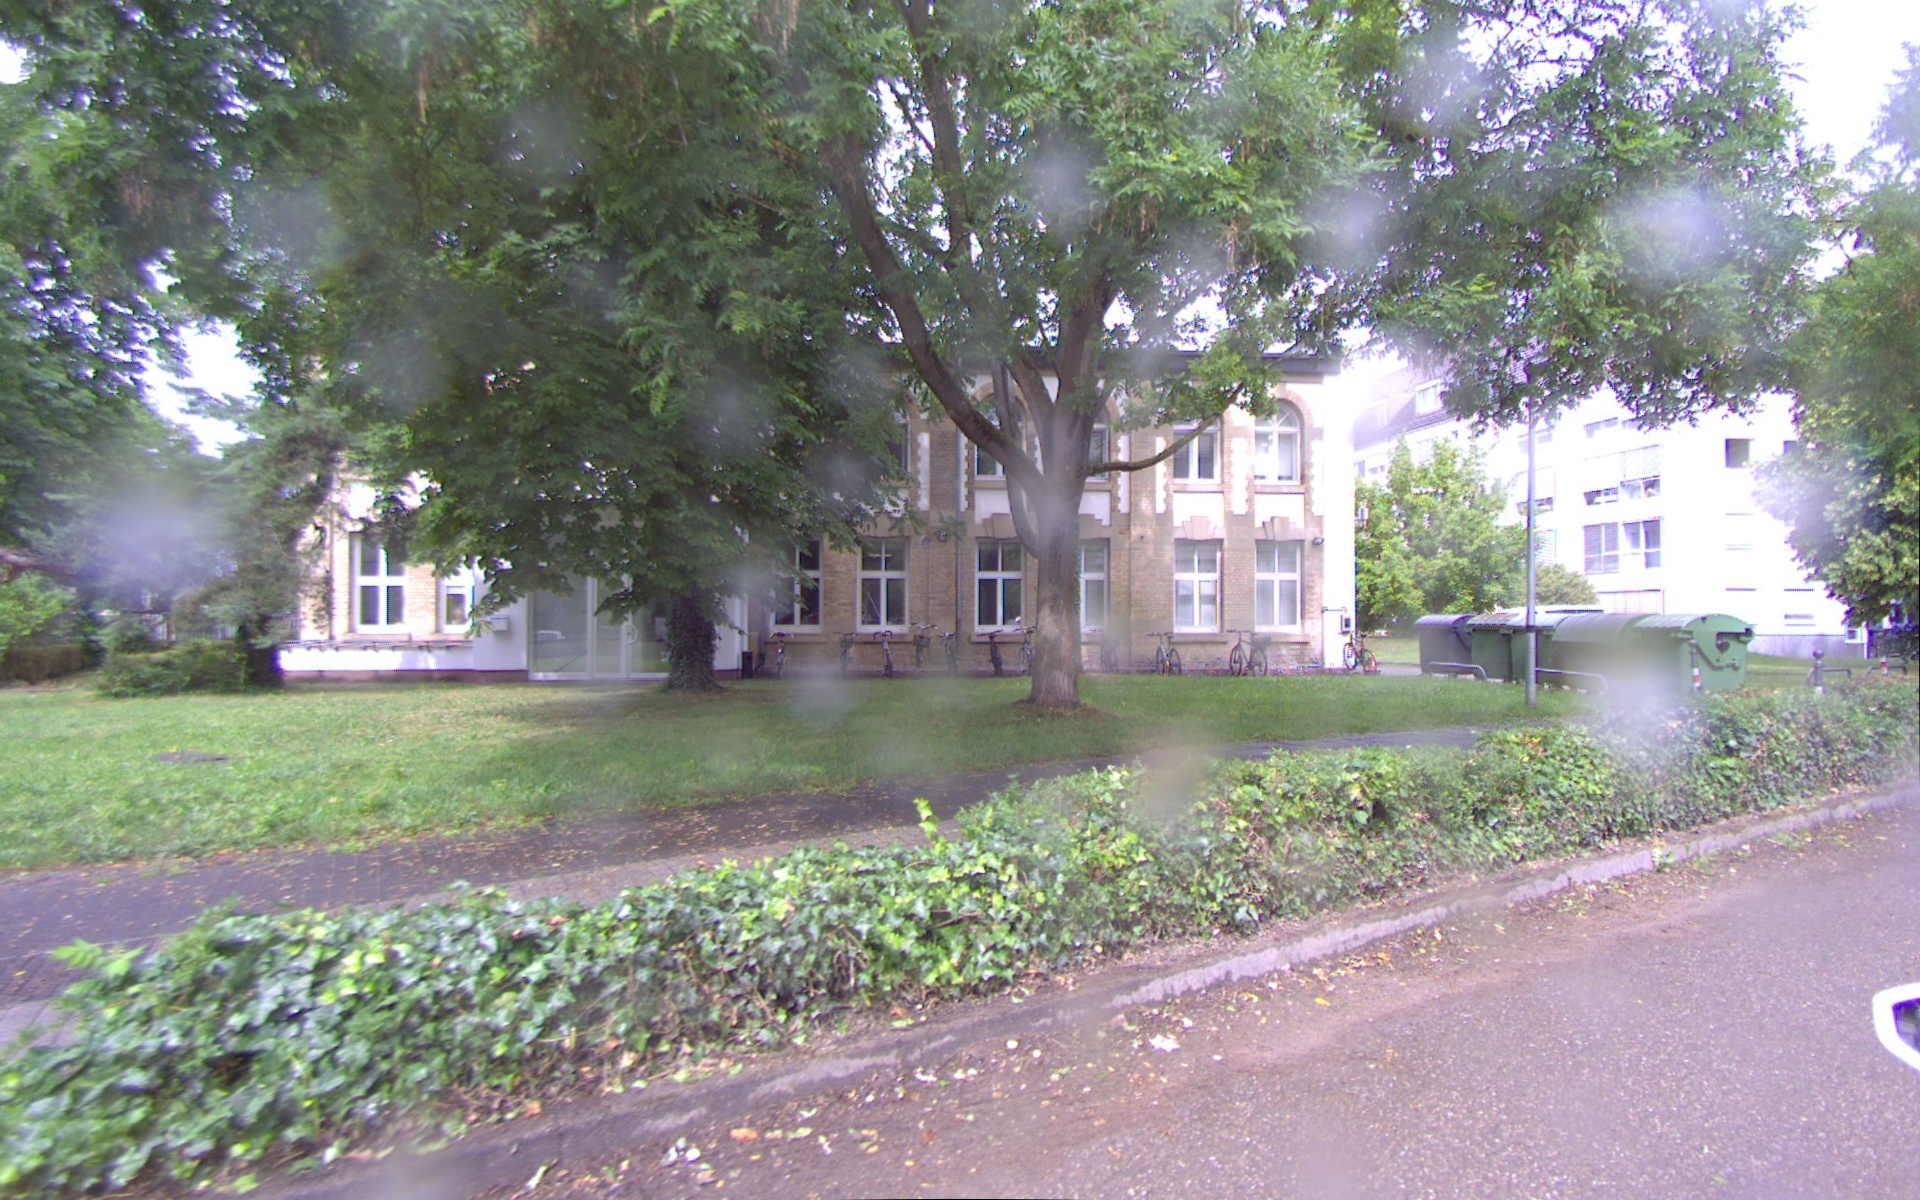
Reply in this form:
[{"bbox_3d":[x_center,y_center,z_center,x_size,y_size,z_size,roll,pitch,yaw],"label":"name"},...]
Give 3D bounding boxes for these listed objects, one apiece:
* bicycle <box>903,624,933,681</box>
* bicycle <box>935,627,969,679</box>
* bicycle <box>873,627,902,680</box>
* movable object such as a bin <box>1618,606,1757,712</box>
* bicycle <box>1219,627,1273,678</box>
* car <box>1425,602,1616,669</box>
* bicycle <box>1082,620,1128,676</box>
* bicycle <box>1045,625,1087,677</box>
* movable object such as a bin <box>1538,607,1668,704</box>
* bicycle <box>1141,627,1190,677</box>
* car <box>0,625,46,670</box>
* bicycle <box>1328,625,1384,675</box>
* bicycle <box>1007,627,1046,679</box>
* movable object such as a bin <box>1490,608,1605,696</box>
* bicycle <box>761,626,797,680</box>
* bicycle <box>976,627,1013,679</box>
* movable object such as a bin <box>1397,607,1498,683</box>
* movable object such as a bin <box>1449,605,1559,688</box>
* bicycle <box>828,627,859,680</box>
[{"bbox_3d":[-0.973,1.163,22.793,0.605,1.193,1.925,0,0,-5],"label":"bicycle"},{"bbox_3d":[-0.192,1.190,22.922,0.605,1.130,1.925,-1,-2,-5],"label":"bicycle"},{"bbox_3d":[-1.662,1.191,22.793,0.605,1.130,1.925,-1,-2,-5],"label":"bicycle"},{"bbox_3d":[10.847,0.856,15.048,1.082,1.492,1.486,1,-1,5],"label":"movable object such as a bin"},{"bbox_3d":[6.729,1.226,23.690,0.605,1.130,1.787,-1,-2,-5],"label":"bicycle"},{"bbox_3d":[17.286,1.100,31.115,4.795,1.951,2.099,1,-2,-3],"label":"car"},{"bbox_3d":[3.341,1.102,23.315,0.605,1.240,1.925,-1,-2,-5],"label":"bicycle"},{"bbox_3d":[2.435,1.168,23.232,0.605,1.130,1.925,-1,-2,-5],"label":"bicycle"},{"bbox_3d":[10.567,0.887,16.562,1.147,1.503,1.400,1,0,-11],"label":"movable object such as a bin"},{"bbox_3d":[4.781,1.199,23.483,0.605,1.130,1.787,-1,-2,-5],"label":"bicycle"},{"bbox_3d":[-35.919,1.758,37.503,1.773,1.517,3.998,-1,0,-29],"label":"car"},{"bbox_3d":[9.431,1.187,23.990,0.605,1.130,1.519,-1,-2,-5],"label":"bicycle"},{"bbox_3d":[1.504,1.199,23.070,0.605,1.130,1.925,-1,-2,-5],"label":"bicycle"},{"bbox_3d":[10.489,0.898,17.989,1.147,1.503,1.400,0,0,-9],"label":"movable object such as a bin"},{"bbox_3d":[-4.005,1.167,22.338,0.605,1.130,1.925,-1,-2,-5],"label":"bicycle"},{"bbox_3d":[0.785,1.204,23.083,0.605,1.130,1.925,-1,-2,-5],"label":"bicycle"},{"bbox_3d":[10.165,0.933,21.012,1.147,1.502,1.592,-1,-1,-10],"label":"movable object such as a bin"},{"bbox_3d":[10.516,0.884,19.481,1.147,1.502,1.495,-1,-1,-10],"label":"movable object such as a bin"},{"bbox_3d":[-2.598,1.183,22.484,0.605,1.130,1.925,-1,-2,-5],"label":"bicycle"}]
